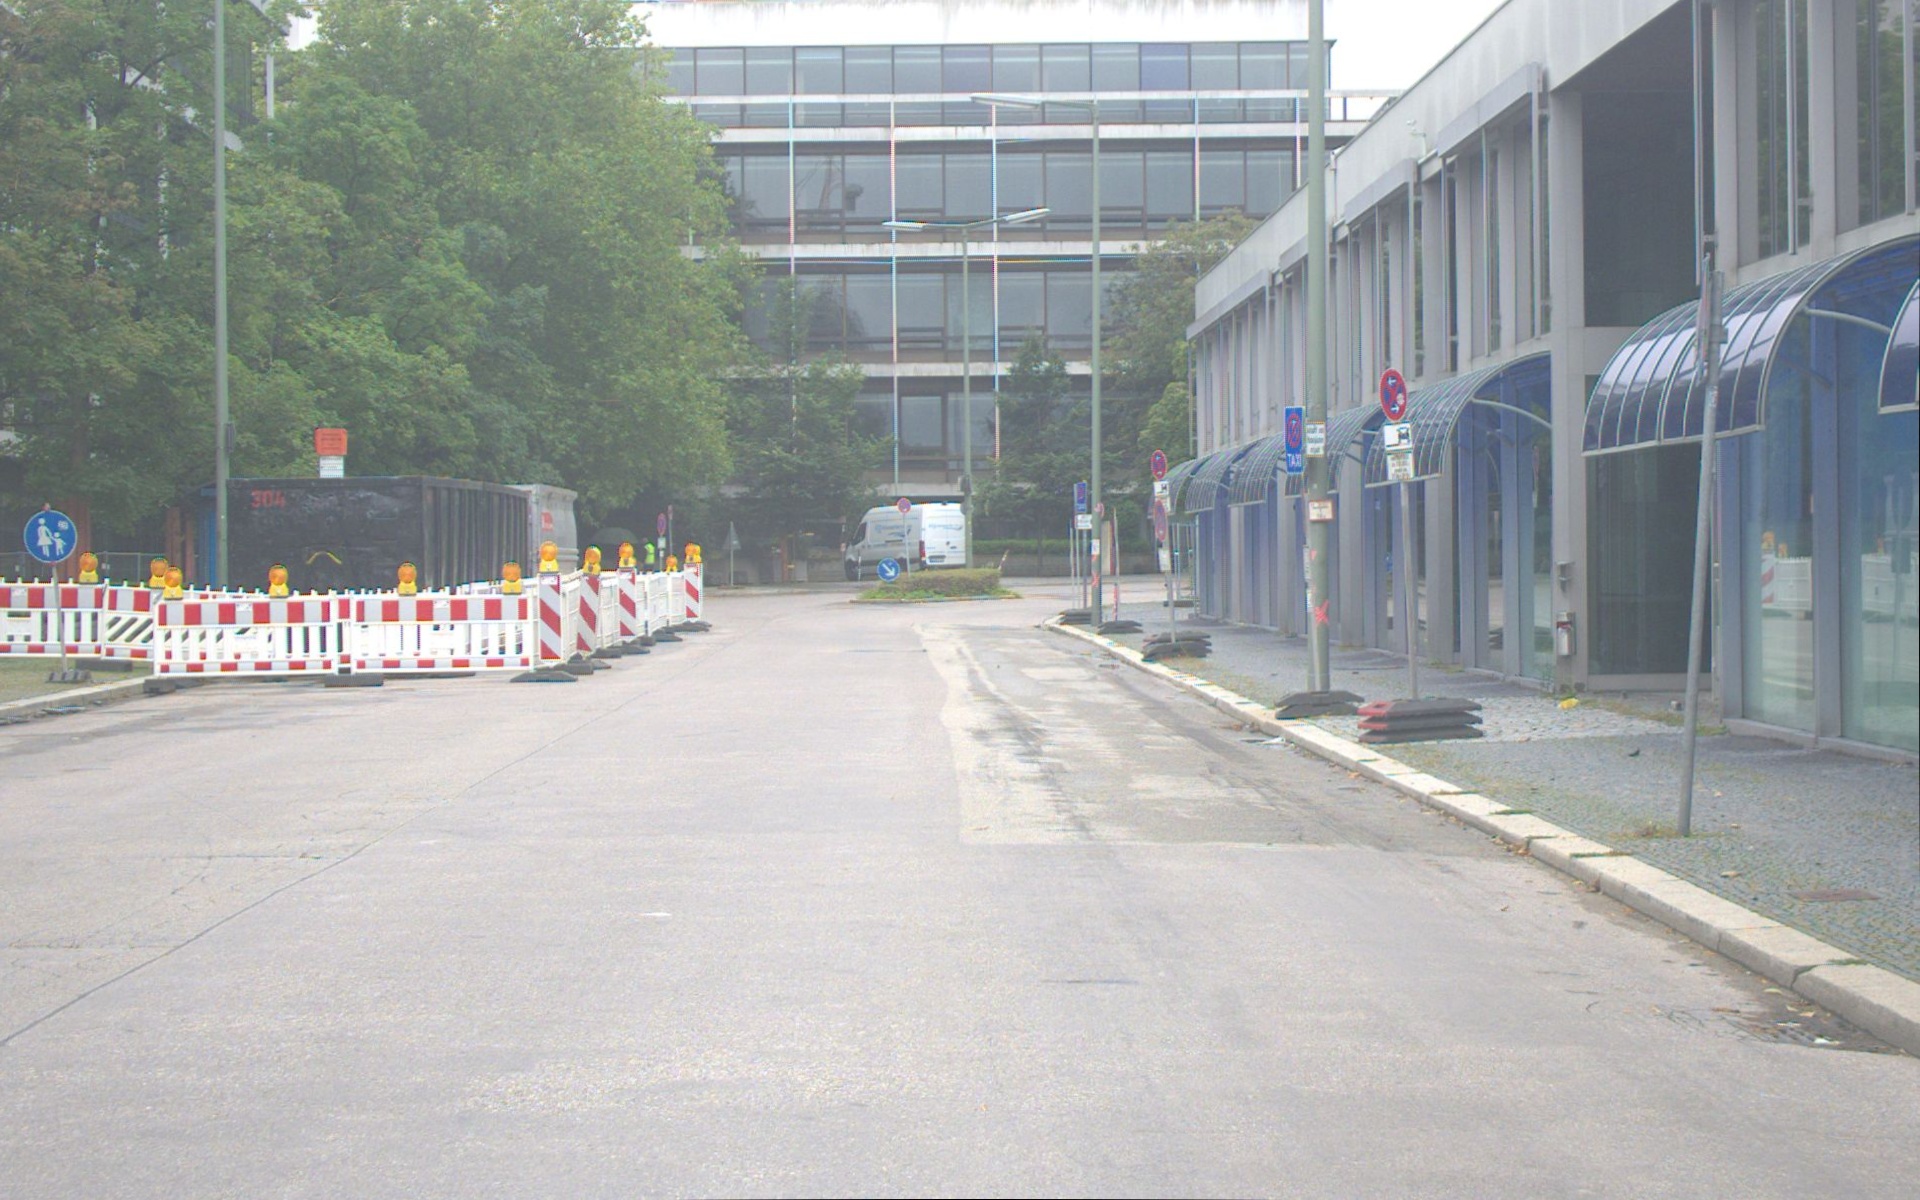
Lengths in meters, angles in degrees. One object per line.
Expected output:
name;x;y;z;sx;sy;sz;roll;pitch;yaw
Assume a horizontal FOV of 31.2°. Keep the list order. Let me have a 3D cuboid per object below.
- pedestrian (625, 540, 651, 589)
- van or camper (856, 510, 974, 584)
pedestrian;-10.968;-1.216;117.045;0.741;1.671;0.682;-1;1;-20
van or camper;-1.581;-1.844;118.508;2.085;2.483;5.068;-1;1;-26
